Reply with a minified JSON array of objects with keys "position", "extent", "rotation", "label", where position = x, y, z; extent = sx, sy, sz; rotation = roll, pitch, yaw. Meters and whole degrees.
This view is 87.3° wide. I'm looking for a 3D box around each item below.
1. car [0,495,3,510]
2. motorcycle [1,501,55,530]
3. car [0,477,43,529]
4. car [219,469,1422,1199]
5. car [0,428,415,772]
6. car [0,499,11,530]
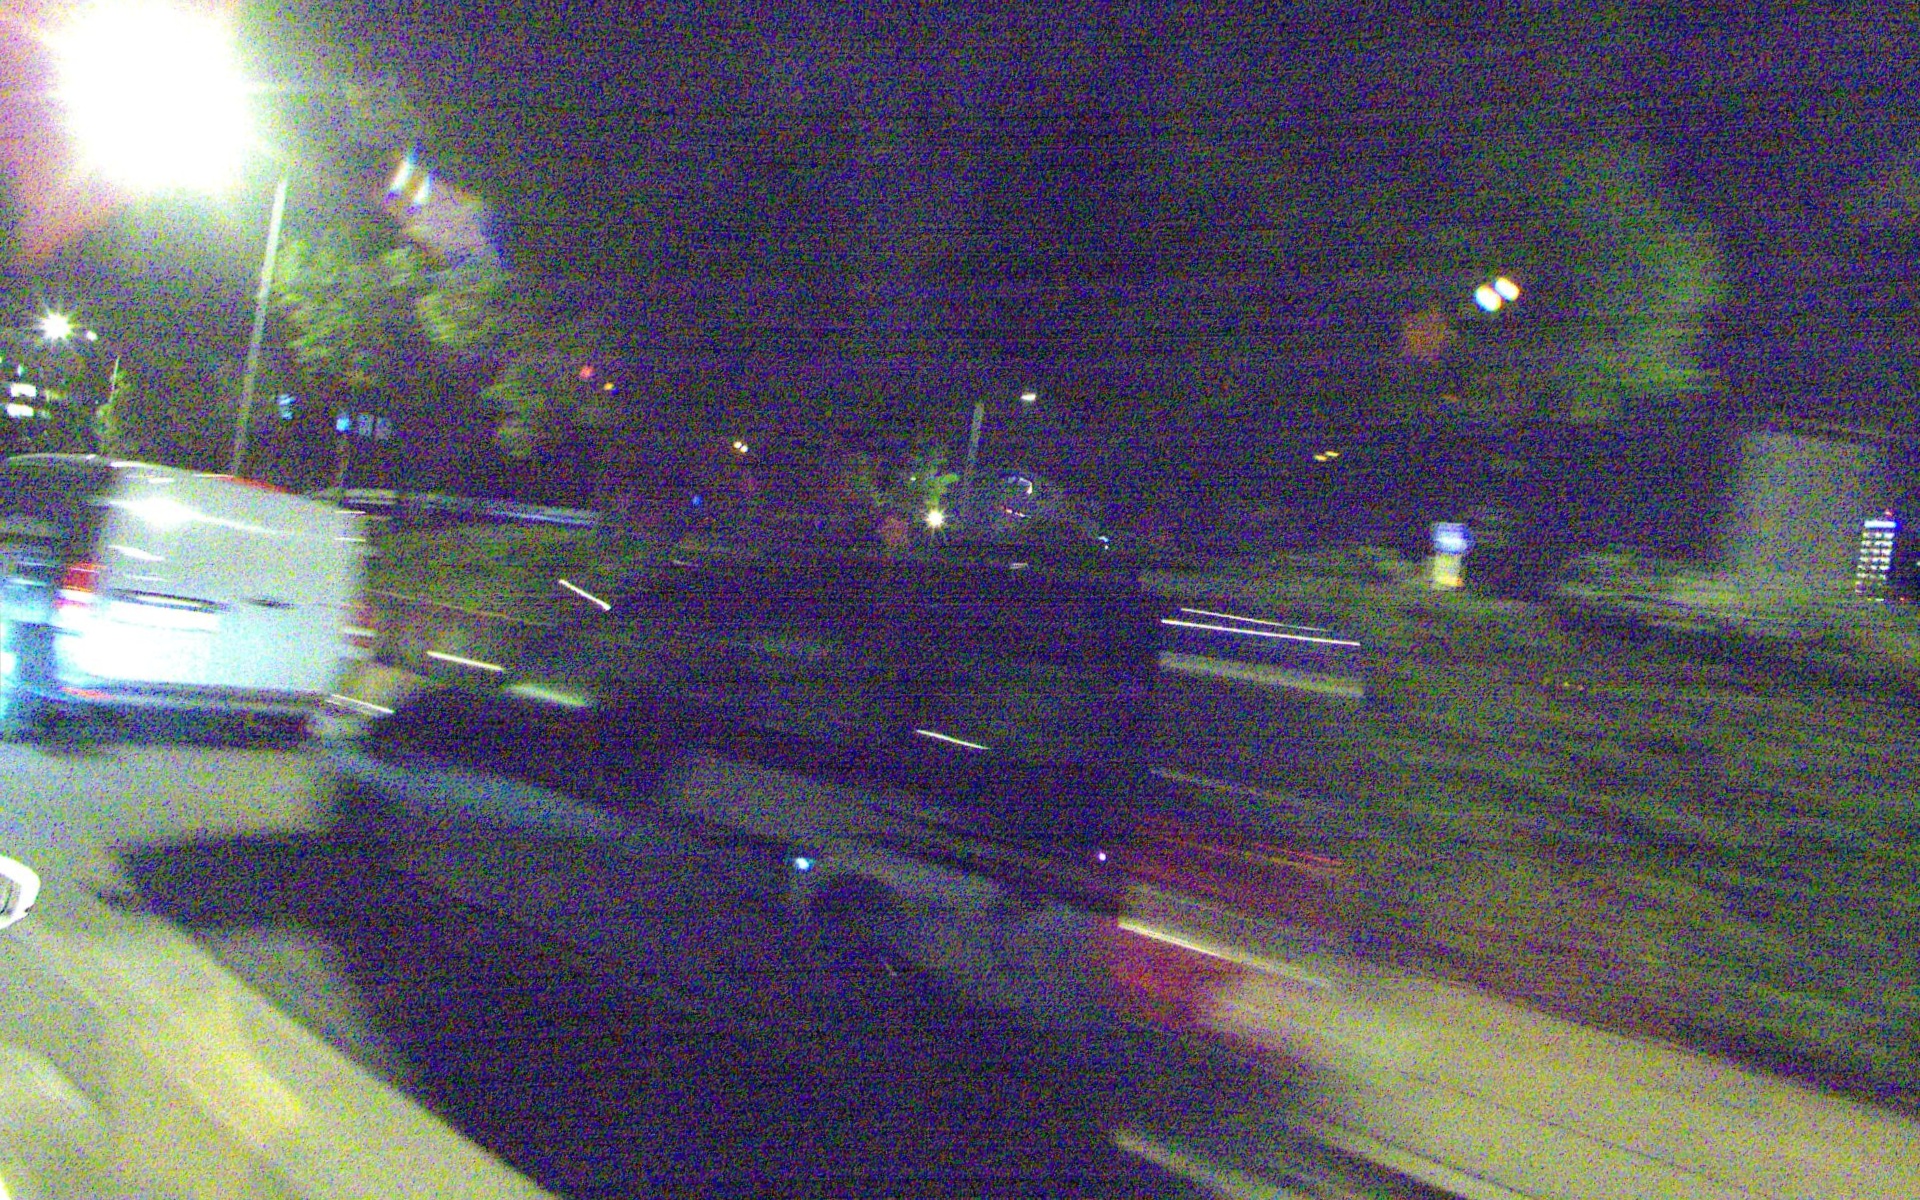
[{"position":[-92.150,-9.400,94.892],"extent":[1.900,1.420,4.298],"rotation":[9,-2,-34],"label":"car"},{"position":[-54.346,-4.915,58.660],"extent":[2.147,1.196,0.769],"rotation":[9,-2,-4],"label":"motorcycle"},{"position":[-52.078,-5.326,54.875],"extent":[2.011,2.554,5.993],"rotation":[10,-3,-35],"label":"car"},{"position":[-0.775,0.656,3.828],"extent":[4.246,1.799,1.733],"rotation":[7,-3,33],"label":"car"},{"position":[-6.913,-0.139,8.267],"extent":[5.271,2.037,1.996],"rotation":[7,-2,36],"label":"car"},{"position":[-48.321,-4.372,49.600],"extent":[1.704,1.525,4.590],"rotation":[9,-2,-39],"label":"car"}]
